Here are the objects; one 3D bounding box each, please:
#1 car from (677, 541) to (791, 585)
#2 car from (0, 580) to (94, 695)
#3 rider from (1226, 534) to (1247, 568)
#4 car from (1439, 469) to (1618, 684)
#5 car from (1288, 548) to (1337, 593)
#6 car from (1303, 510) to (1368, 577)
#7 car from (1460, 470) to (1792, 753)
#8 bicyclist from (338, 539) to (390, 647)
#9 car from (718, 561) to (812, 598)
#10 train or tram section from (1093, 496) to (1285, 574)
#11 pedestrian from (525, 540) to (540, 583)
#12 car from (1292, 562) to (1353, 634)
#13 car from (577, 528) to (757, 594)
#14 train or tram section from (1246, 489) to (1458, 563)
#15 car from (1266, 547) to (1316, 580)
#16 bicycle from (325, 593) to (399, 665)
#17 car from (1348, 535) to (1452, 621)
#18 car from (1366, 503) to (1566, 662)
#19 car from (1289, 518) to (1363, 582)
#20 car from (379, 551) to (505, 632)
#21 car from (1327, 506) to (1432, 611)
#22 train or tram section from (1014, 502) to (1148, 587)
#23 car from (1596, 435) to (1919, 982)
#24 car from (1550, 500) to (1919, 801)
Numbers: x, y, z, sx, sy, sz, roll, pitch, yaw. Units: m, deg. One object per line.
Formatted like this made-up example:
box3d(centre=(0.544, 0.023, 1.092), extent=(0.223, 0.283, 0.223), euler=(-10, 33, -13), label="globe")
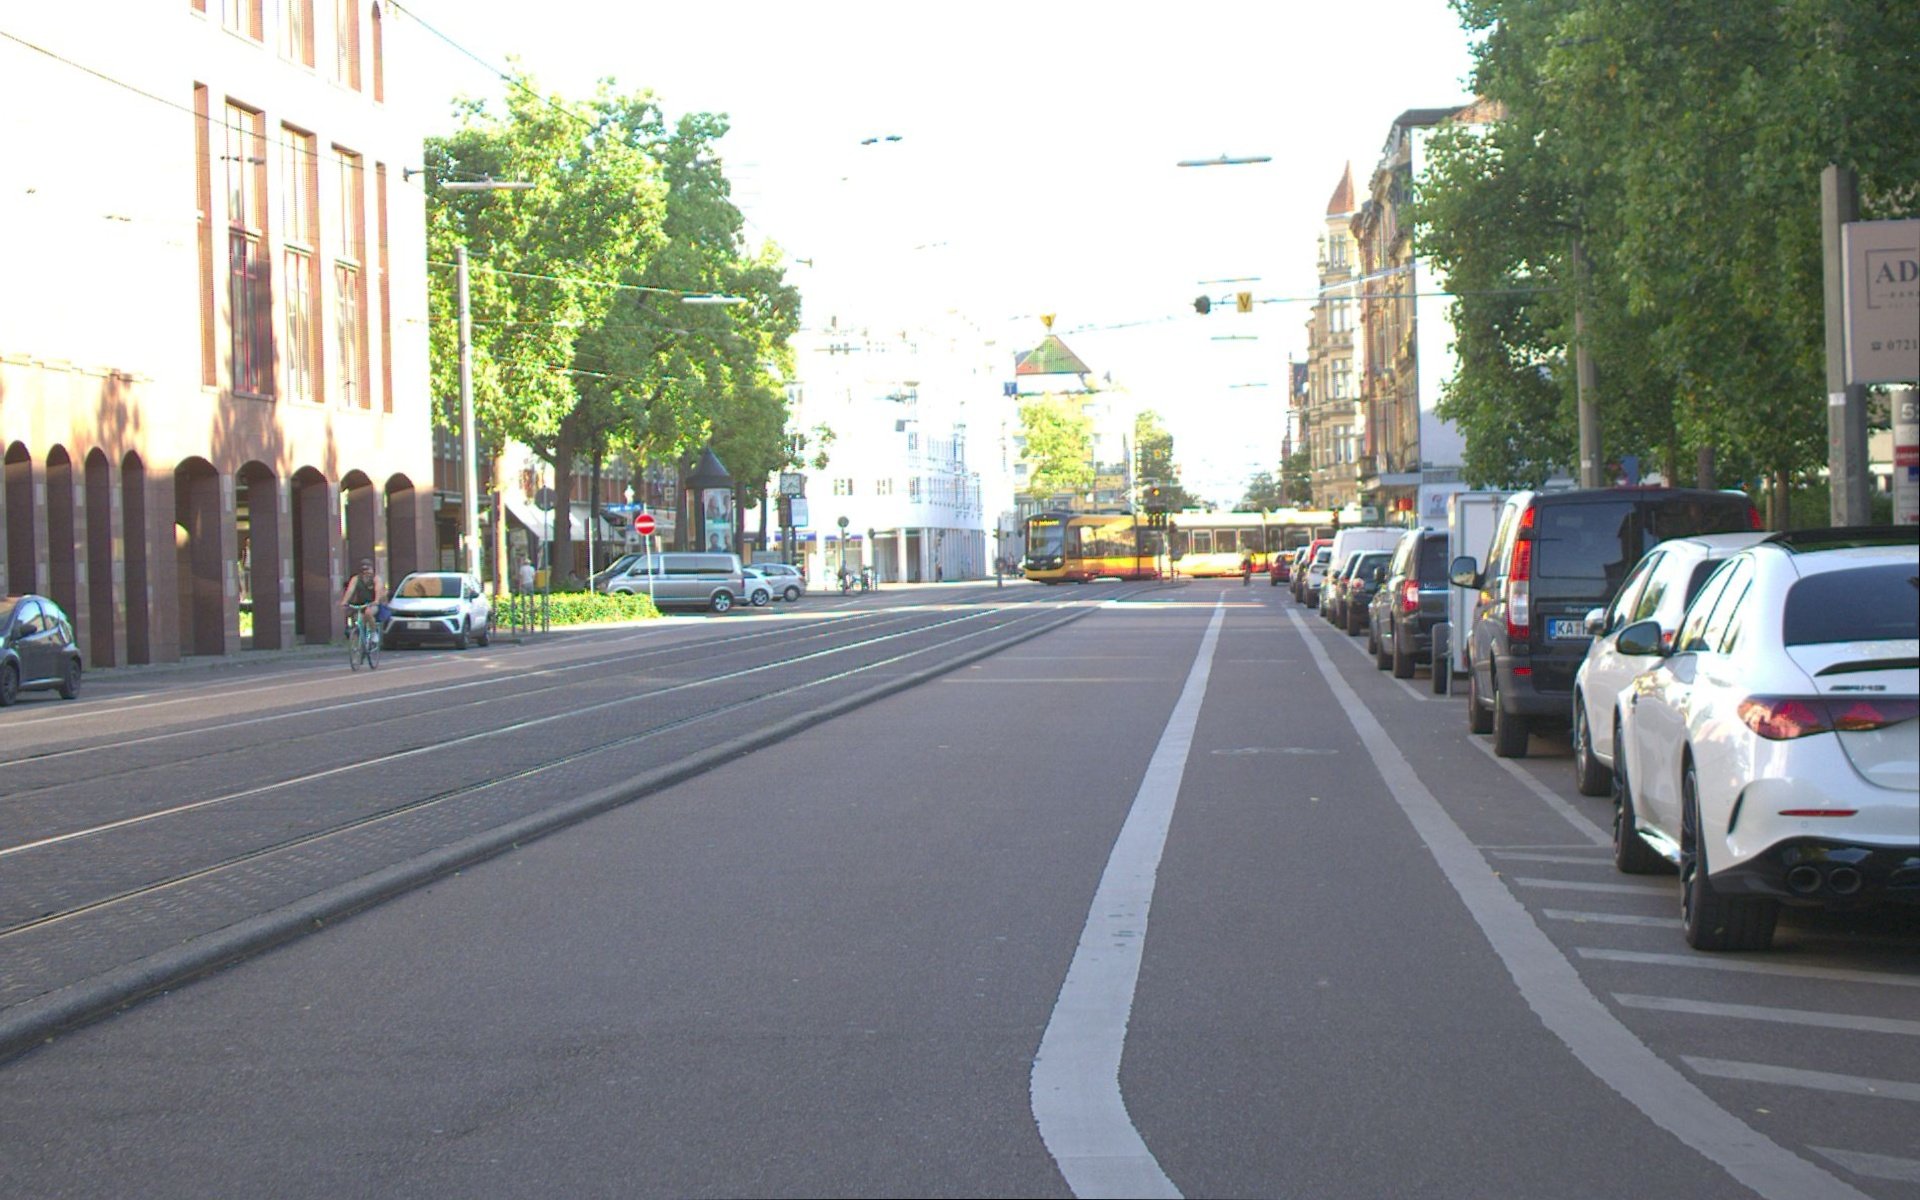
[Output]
box3d(centre=(-8.524, -1.382, 129.937), extent=(3.868, 1.622, 1.876), euler=(0, 1, -26), label="car")
box3d(centre=(-13.093, 0.476, 45.705), extent=(1.870, 1.445, 3.582), euler=(0, 1, 8), label="car")
box3d(centre=(12.053, -2.133, 150.103), extent=(0.884, 1.476, 0.713), euler=(1, 1, 6), label="rider")
box3d(centre=(5.887, -0.248, 35.902), extent=(1.706, 2.112, 3.705), euler=(-1, 1, 8), label="car")
box3d(centre=(12.537, -1.072, 122.441), extent=(1.621, 1.550, 4.082), euler=(1, 1, 4), label="car")
box3d(centre=(10.426, -1.569, 95.608), extent=(1.621, 1.807, 4.082), euler=(1, 1, 4), label="car")
box3d(centre=(4.754, 0.021, 25.182), extent=(1.956, 1.862, 4.988), euler=(0, 1, 6), label="car")
box3d(centre=(-9.693, -0.117, 55.951), extent=(0.571, 1.706, 0.745), euler=(-3, 1, 5), label="bicyclist")
box3d(centre=(-7.956, -0.839, 140.278), extent=(3.519, 1.476, 1.582), euler=(0, 1, -27), label="car")
box3d(centre=(11.855, -3.306, 176.623), extent=(2.698, 3.865, 12.813), euler=(2, 2, 40), label="train or tram section")
box3d(centre=(-13.380, -1.214, 107.550), extent=(0.362, 1.338, 0.483), euler=(1, 1, -15), label="pedestrian")
box3d(centre=(10.557, -0.085, 100.264), extent=(1.621, 2.000, 3.831), euler=(1, 1, 4), label="car")
box3d(centre=(-9.421, -1.227, 110.654), extent=(5.251, 2.036, 2.419), euler=(0, -1, -27), label="car")
box3d(centre=(20.918, -3.935, 183.413), extent=(11.248, 3.739, 2.702), euler=(1, 1, -22), label="train or tram section")
box3d(centre=(14.341, -1.595, 148.958), extent=(2.066, 1.384, 4.224), euler=(1, 1, 5), label="car")
box3d(centre=(-9.687, 0.453, 55.749), extent=(0.582, 1.074, 2.185), euler=(-3, 1, 5), label="bicycle")
box3d(centre=(7.599, -0.405, 59.631), extent=(1.621, 1.427, 3.984), euler=(-1, 1, 5), label="car")
box3d(centre=(5.995, -0.249, 41.260), extent=(1.950, 1.782, 5.181), euler=(0, 1, 4), label="car")
box3d(centre=(9.510, -1.309, 89.574), extent=(1.723, 1.562, 4.082), euler=(-2, 1, 4), label="car")
box3d(centre=(-10.913, -0.208, 72.689), extent=(1.869, 1.594, 4.254), euler=(-1, 1, 2), label="car")
box3d(centre=(8.613, -0.872, 70.870), extent=(1.971, 2.007, 4.557), euler=(-3, 1, 6), label="car")
box3d(centre=(5.947, -2.678, 166.220), extent=(2.695, 3.946, 12.078), euler=(1, 1, 21), label="train or tram section")
box3d(centre=(3.701, 0.305, 13.485), extent=(1.967, 1.765, 4.874), euler=(0, 1, 6), label="car")
box3d(centre=(4.376, 0.207, 19.002), extent=(1.731, 1.490, 3.961), euler=(0, 1, 3), label="car")
